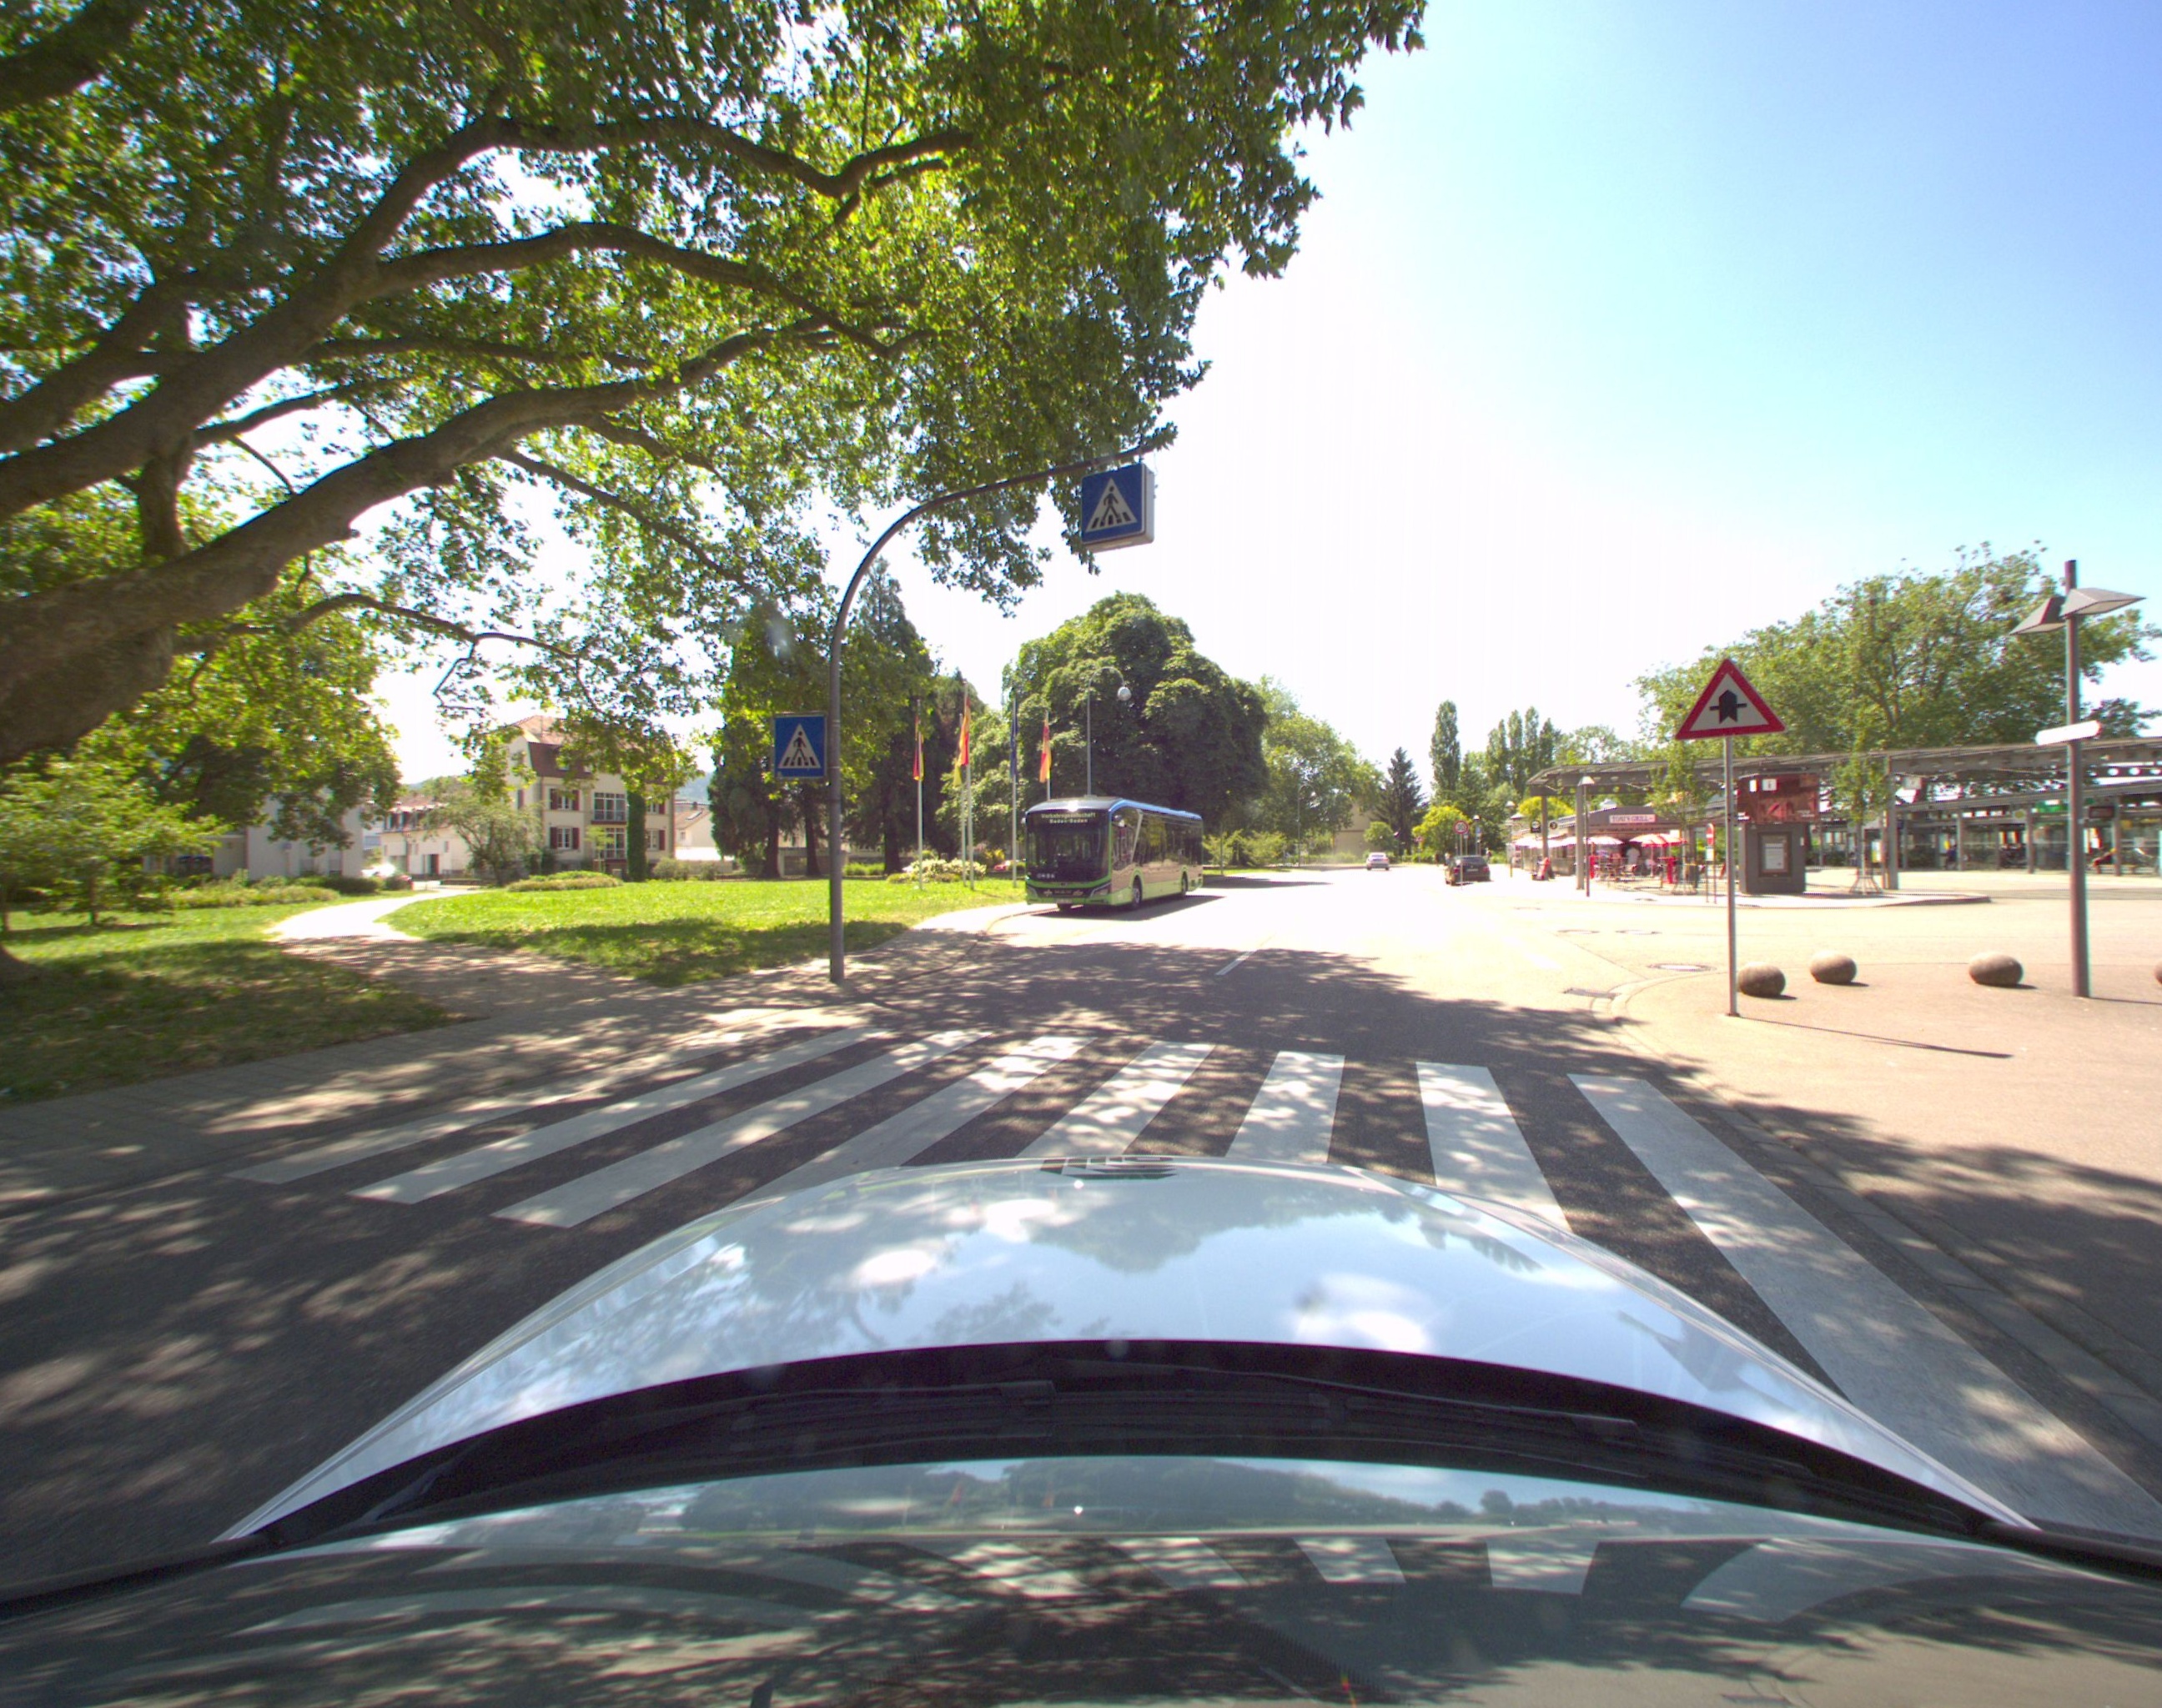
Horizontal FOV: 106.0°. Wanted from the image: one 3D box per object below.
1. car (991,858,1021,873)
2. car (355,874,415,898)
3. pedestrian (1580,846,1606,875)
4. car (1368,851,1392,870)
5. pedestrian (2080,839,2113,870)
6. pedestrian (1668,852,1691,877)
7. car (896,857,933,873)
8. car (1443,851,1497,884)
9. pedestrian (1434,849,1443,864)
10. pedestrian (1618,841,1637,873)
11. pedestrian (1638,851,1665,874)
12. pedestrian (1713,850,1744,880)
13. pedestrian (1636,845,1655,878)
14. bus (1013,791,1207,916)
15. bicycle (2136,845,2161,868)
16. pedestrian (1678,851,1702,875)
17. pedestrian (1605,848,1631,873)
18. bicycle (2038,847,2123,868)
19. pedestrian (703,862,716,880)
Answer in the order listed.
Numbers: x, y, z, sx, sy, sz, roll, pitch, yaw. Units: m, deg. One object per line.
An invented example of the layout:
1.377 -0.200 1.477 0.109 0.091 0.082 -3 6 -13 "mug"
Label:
-9.884 1.526 107.214 1.852 1.838 4.025 1 0 31 "car"
-51.132 2.362 59.840 3.949 1.583 2.012 -3 -2 28 "car"
25.730 0.339 40.946 0.894 1.418 0.684 -1 0 -17 "pedestrian"
27.985 0.606 76.119 1.965 1.627 4.804 -1 0 22 "car"
47.157 0.036 37.824 0.619 1.395 0.680 -3 -2 20 "pedestrian"
27.592 0.472 37.550 0.680 1.161 0.900 -1 0 25 "pedestrian"
-19.141 1.318 93.636 1.852 1.751 4.025 1 0 31 "car"
19.469 0.644 40.928 1.911 1.460 4.748 -4 -1 20 "car"
41.197 0.293 93.843 0.755 1.649 0.630 2 -2 -42 "pedestrian"
29.980 0.160 44.681 0.680 1.738 0.711 -1 -1 20 "pedestrian"
28.968 0.439 41.354 0.893 1.161 0.685 -1 0 -14 "pedestrian"
28.138 0.482 35.398 0.838 1.277 0.900 -1 0 25 "pedestrian"
29.870 0.410 43.087 0.680 1.738 0.711 0 -1 20 "pedestrian"
1.634 -0.038 27.765 2.785 3.283 12.488 -1 0 20 "bus"
49.595 0.126 36.545 2.764 1.004 0.815 1 0 18 "bicycle"
30.326 0.450 40.547 0.752 1.205 0.741 1 0 20 "pedestrian"
27.641 0.330 41.948 0.893 1.312 0.685 -1 0 -14 "pedestrian"
51.648 0.184 42.109 2.764 1.004 0.815 1 0 18 "bicycle"
-28.188 1.279 61.782 0.827 1.371 0.614 2 0 -20 "pedestrian"
